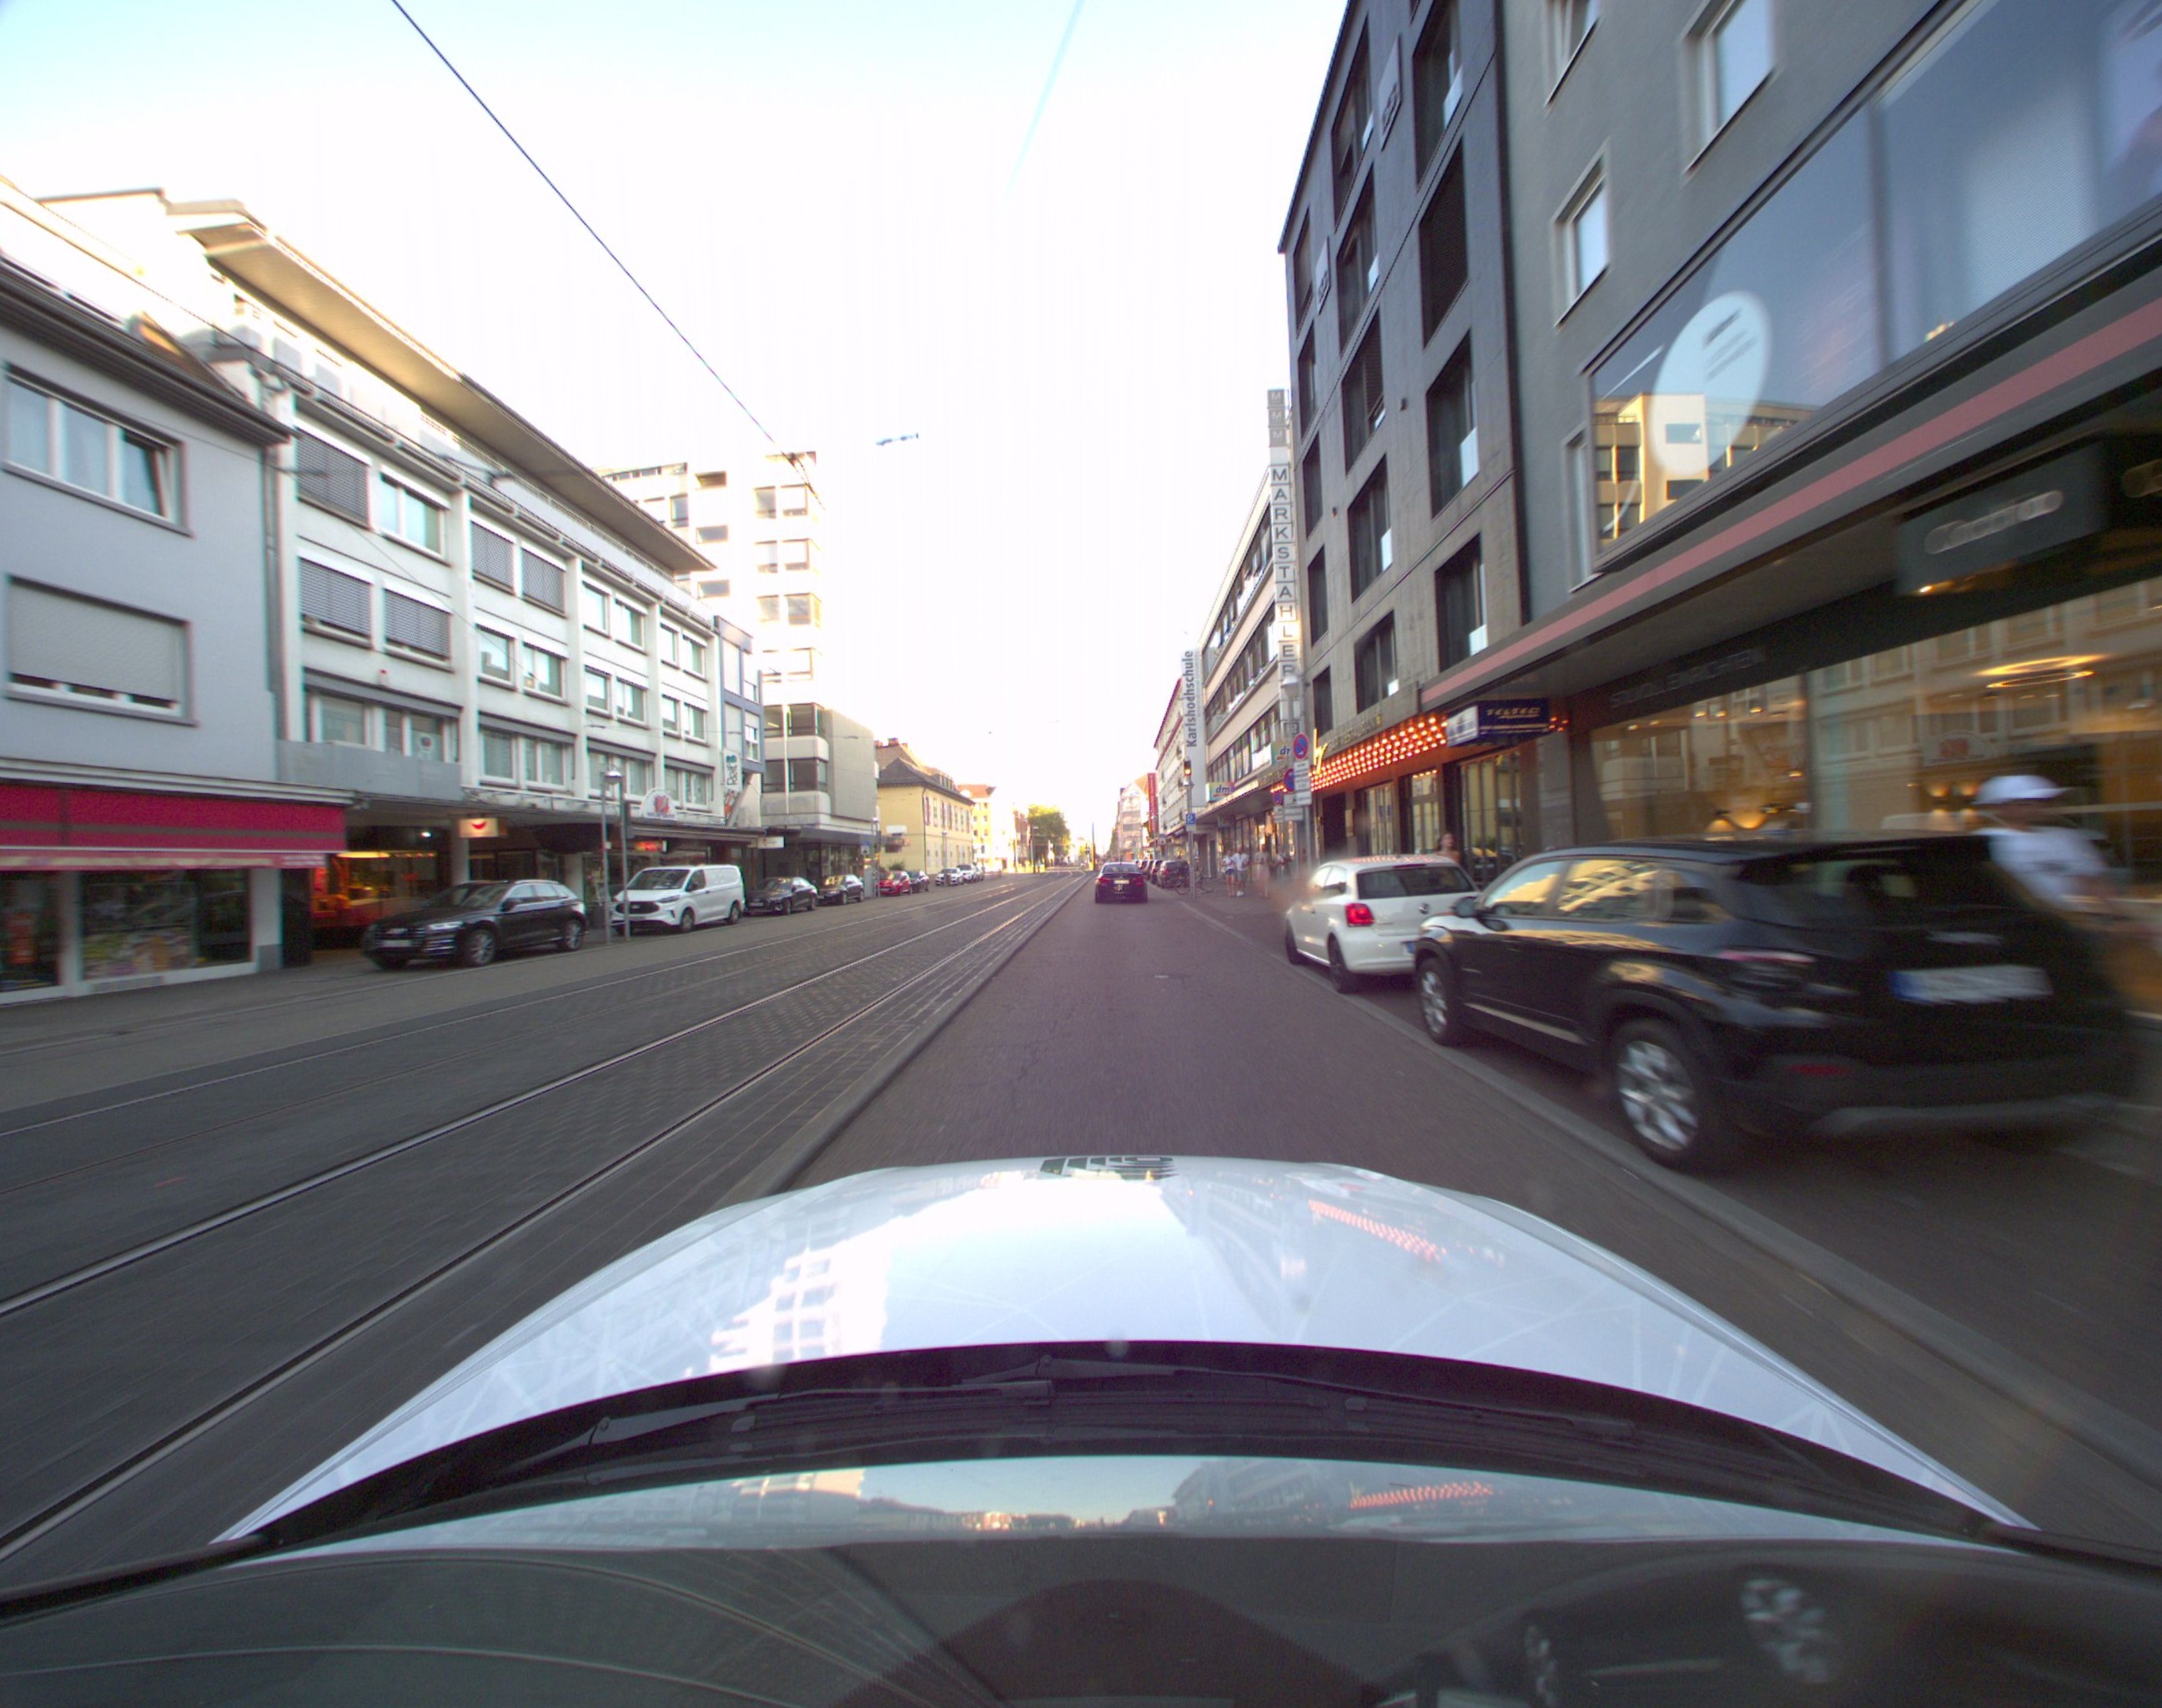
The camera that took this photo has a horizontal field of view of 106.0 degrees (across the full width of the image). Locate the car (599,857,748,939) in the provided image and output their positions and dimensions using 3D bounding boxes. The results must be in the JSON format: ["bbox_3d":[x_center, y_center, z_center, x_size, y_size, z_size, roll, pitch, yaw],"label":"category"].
[{"bbox_3d":[-12.177,1.230,24.809,1.987,2.156,4.910,-2,-1,0],"label":"car"}]

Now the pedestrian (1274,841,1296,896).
[{"bbox_3d":[6.870,0.491,27.415,0.506,1.792,0.760,-3,-1,2],"label":"pedestrian"}]

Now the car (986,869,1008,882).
[{"bbox_3d":[-9.944,2.492,96.861,1.921,1.435,4.248,-1,0,2],"label":"car"}]

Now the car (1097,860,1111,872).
[{"bbox_3d":[2.990,1.591,106.838,1.768,1.549,3.504,-2,-1,2],"label":"car"}]

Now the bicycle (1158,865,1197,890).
[{"bbox_3d":[4.716,1.148,39.762,1.854,1.119,0.469,-2,-2,2],"label":"bicycle"}]

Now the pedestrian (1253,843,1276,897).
[{"bbox_3d":[6.211,0.538,27.622,0.552,1.791,0.760,-3,-1,2],"label":"pedestrian"}]

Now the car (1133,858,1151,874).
[{"bbox_3d":[6.366,1.271,85.407,1.768,1.549,3.504,-2,-1,2],"label":"car"}]

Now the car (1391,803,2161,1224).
[{"bbox_3d":[3.497,0.628,5.093,1.648,1.537,3.887,-3,-1,1],"label":"car"}]

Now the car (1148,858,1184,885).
[{"bbox_3d":[5.179,1.079,49.816,1.896,1.549,3.781,-2,-2,2],"label":"car"}]

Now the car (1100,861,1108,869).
[{"bbox_3d":[6.151,2.966,217.760,1.986,1.838,4.000,-2,-3,2],"label":"car"}]

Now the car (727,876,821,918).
[{"bbox_3d":[-11.982,1.626,32.087,1.921,1.435,4.248,-1,0,2],"label":"car"}]

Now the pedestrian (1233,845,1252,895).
[{"bbox_3d":[5.847,0.571,29.512,0.486,1.790,0.761,-3,-1,5],"label":"pedestrian"}]

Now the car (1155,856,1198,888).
[{"bbox_3d":[5.004,0.941,43.142,1.896,1.549,4.001,-2,-1,2],"label":"car"}]

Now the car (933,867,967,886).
[{"bbox_3d":[-10.822,1.833,67.482,1.921,1.435,4.248,-3,-1,2],"label":"car"}]

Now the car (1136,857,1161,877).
[{"bbox_3d":[5.344,1.036,64.593,1.768,1.549,3.504,-2,-1,2],"label":"car"}]

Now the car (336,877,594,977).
[{"bbox_3d":[-12.497,1.390,16.987,1.852,1.678,4.466,-1,0,2],"label":"car"}]

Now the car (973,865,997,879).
[{"bbox_3d":[-10.322,1.949,87.524,1.921,1.435,4.248,-1,0,2],"label":"car"}]

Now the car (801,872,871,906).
[{"bbox_3d":[-11.620,1.645,38.944,1.921,1.435,4.248,-1,0,2],"label":"car"}]

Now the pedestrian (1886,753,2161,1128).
[{"bbox_3d":[5.011,0.404,4.251,0.686,1.740,0.821,-4,-1,3],"label":"pedestrian"}]

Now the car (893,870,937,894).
[{"bbox_3d":[-10.975,1.805,54.065,1.921,1.435,4.248,-1,0,2],"label":"car"}]

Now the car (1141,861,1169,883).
[{"bbox_3d":[5.346,1.308,59.253,1.768,1.549,3.504,-2,-1,2],"label":"car"}]

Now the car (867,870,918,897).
[{"bbox_3d":[-11.301,1.737,48.998,1.921,1.435,4.248,-1,0,2],"label":"car"}]

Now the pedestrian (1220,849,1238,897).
[{"bbox_3d":[5.363,0.666,29.537,0.473,1.699,0.753,-3,-1,5],"label":"pedestrian"}]

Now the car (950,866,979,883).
[{"bbox_3d":[-10.492,1.804,73.610,1.921,1.435,4.248,-1,0,2],"label":"car"}]

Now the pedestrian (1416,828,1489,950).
[{"bbox_3d":[5.243,0.481,11.531,0.556,1.647,0.758,-3,-1,-6],"label":"pedestrian"}]

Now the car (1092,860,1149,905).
[{"bbox_3d":[1.503,0.994,30.457,1.945,1.498,4.469,-2,0,3],"label":"car"}]

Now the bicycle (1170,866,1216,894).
[{"bbox_3d":[4.667,1.093,33.950,1.854,1.080,0.469,-2,-2,2],"label":"bicycle"}]

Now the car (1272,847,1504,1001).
[{"bbox_3d":[3.532,0.720,10.075,1.553,1.442,3.712,-4,-1,3],"label":"car"}]
